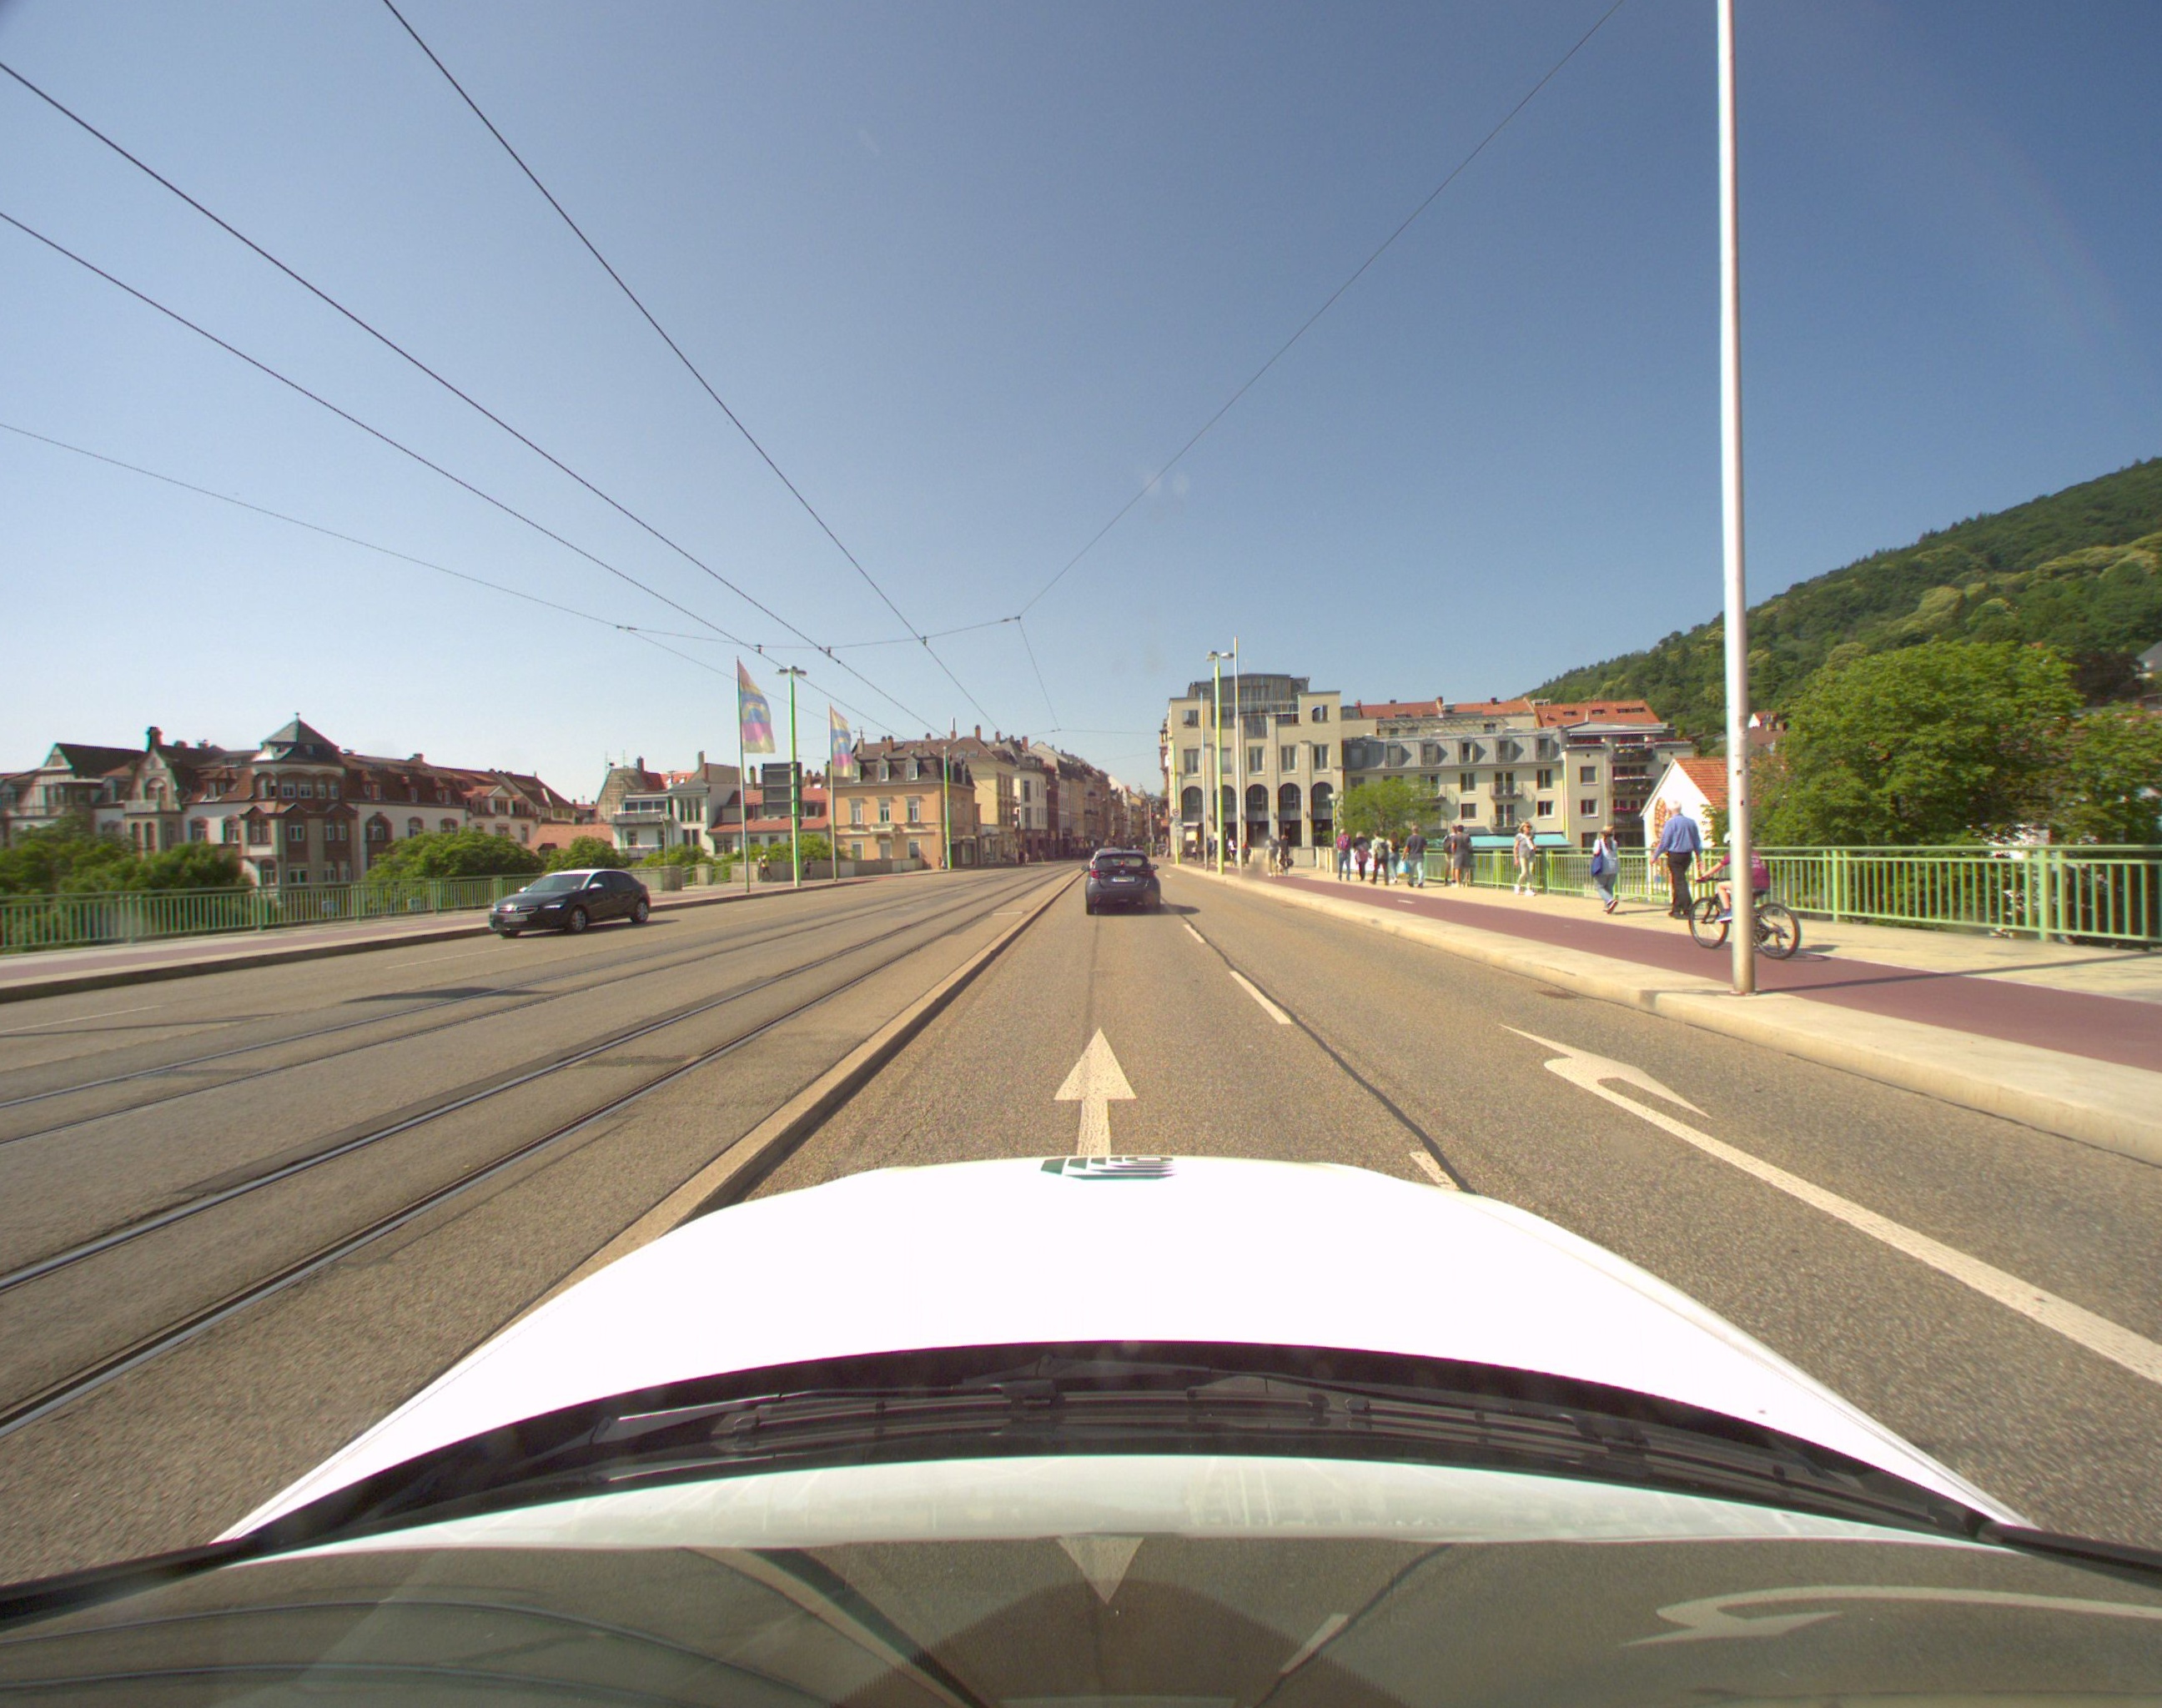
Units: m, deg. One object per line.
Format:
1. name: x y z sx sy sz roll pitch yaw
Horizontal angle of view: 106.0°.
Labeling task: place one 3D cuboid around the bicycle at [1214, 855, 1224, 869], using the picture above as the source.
1. bicycle: 8.010 0.480 47.222 0.414 0.765 1.207 -3 0 4

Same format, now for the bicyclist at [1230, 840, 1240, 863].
1. bicyclist: 9.842 -0.151 52.032 0.487 1.466 0.438 -1 2 -37

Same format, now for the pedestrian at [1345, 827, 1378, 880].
1. pedestrian: 9.750 -0.012 28.308 0.736 1.777 1.016 -3 0 2

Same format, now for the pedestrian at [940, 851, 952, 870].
1. pedestrian: -12.004 0.561 72.377 0.758 1.654 0.713 3 0 6

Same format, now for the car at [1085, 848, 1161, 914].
1. car: 1.003 0.604 20.159 1.713 1.473 3.659 0 0 2

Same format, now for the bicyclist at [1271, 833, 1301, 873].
1. bicyclist: 9.005 -0.056 35.803 1.133 1.695 0.926 -3 0 7

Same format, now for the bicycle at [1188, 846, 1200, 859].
1. bicycle: 13.026 -0.176 94.014 1.107 1.420 3.009 -2 0 3

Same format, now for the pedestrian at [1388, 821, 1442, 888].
1. pedestrian: 9.486 0.010 23.152 0.974 1.777 1.208 -3 0 1

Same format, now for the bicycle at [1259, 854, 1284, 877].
1. bicycle: 7.790 0.467 33.360 0.701 0.882 1.527 -3 0 3

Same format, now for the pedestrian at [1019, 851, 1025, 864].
1. pedestrian: -7.170 0.419 98.981 0.646 1.602 0.566 3 2 2

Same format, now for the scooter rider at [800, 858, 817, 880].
1. scooter rider: -16.747 0.900 50.020 0.763 1.315 0.600 2 0 13

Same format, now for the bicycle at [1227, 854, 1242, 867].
1. bicycle: 9.794 0.410 52.006 0.419 0.765 0.951 -1 3 -37

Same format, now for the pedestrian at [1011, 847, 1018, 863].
1. pedestrian: -7.955 0.115 97.418 0.733 1.766 0.787 3 0 2

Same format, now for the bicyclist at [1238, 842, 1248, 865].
1. bicyclist: 9.855 -0.037 49.609 0.420 1.383 0.444 -3 0 2

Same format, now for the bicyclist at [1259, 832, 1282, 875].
1. bicyclist: 7.772 -0.032 33.386 0.699 1.695 0.925 -3 0 2

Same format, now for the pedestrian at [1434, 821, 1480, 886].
1. pedestrian: 10.385 -0.017 22.520 0.736 1.718 1.016 -3 0 2

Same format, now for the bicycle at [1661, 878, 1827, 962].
1. bicycle: 7.307 0.692 9.081 0.512 0.765 1.661 -3 0 2

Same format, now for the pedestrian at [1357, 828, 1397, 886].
1. pedestrian: 9.122 0.083 25.136 0.752 1.718 1.073 -3 0 2

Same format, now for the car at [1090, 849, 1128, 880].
1. car: 1.444 0.504 42.182 1.890 1.530 4.002 0 0 2

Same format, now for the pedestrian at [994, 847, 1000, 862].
1. pedestrian: -9.728 0.051 94.328 0.646 1.602 0.566 3 2 2

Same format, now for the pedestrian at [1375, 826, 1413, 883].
1. pedestrian: 10.025 0.016 26.100 0.736 1.746 1.016 -3 0 2

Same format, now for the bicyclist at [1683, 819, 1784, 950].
1. bicyclist: 7.283 0.322 9.114 0.532 1.383 0.669 -3 0 2

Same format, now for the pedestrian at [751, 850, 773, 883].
1. pedestrian: -17.603 0.664 44.983 0.741 1.781 0.803 -3 0 6

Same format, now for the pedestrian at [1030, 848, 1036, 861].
1. pedestrian: -6.706 0.081 114.246 0.733 1.766 0.787 -2 1 2

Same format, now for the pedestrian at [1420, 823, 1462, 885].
1. pedestrian: 10.407 0.001 23.574 0.736 1.718 1.016 -3 0 1

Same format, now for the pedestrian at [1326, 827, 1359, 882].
1. pedestrian: 8.968 0.009 27.945 0.736 1.802 1.016 -3 0 2

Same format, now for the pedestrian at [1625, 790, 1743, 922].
1. pedestrian: 9.265 0.024 12.560 0.922 1.897 1.137 -3 0 1

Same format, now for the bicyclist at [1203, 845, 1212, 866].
1. bicyclist: 7.837 0.088 50.441 0.420 1.256 0.444 -3 0 5

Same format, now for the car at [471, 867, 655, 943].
1. car: -12.047 1.114 19.301 1.710 1.454 3.903 -3 0 2

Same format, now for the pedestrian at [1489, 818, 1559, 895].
1. pedestrian: 10.125 0.050 18.660 0.944 1.662 1.083 -3 0 1

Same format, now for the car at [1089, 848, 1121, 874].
1. car: 1.490 0.390 50.341 1.890 1.530 4.002 0 0 2

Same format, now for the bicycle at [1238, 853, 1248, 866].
1. bicycle: 9.880 0.351 49.588 0.415 0.765 0.962 -3 0 2

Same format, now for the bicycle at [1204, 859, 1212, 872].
1. bicycle: 7.880 0.687 50.467 0.414 0.765 0.963 -3 0 5

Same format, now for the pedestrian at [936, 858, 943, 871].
1. pedestrian: -12.729 0.905 73.493 0.409 1.146 0.546 3 0 11

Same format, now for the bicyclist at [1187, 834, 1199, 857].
1. bicyclist: 12.913 -0.996 93.884 1.223 2.529 1.106 -2 0 3

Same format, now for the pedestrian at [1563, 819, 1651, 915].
1. pedestrian: 8.883 0.206 13.788 0.826 1.529 0.933 -3 0 1

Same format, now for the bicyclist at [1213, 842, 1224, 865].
1. bicyclist: 7.966 -0.017 47.207 0.535 1.316 0.672 -4 0 5

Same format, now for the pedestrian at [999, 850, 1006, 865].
1. pedestrian: -8.923 0.420 92.431 0.646 1.602 0.566 3 2 2

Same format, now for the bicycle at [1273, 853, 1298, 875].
1. bicycle: 8.973 0.423 35.777 0.793 0.882 1.832 -3 0 7

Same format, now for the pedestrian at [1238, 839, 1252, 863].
1. pedestrian: 11.211 -0.184 55.592 0.736 1.614 1.016 3 0 2
